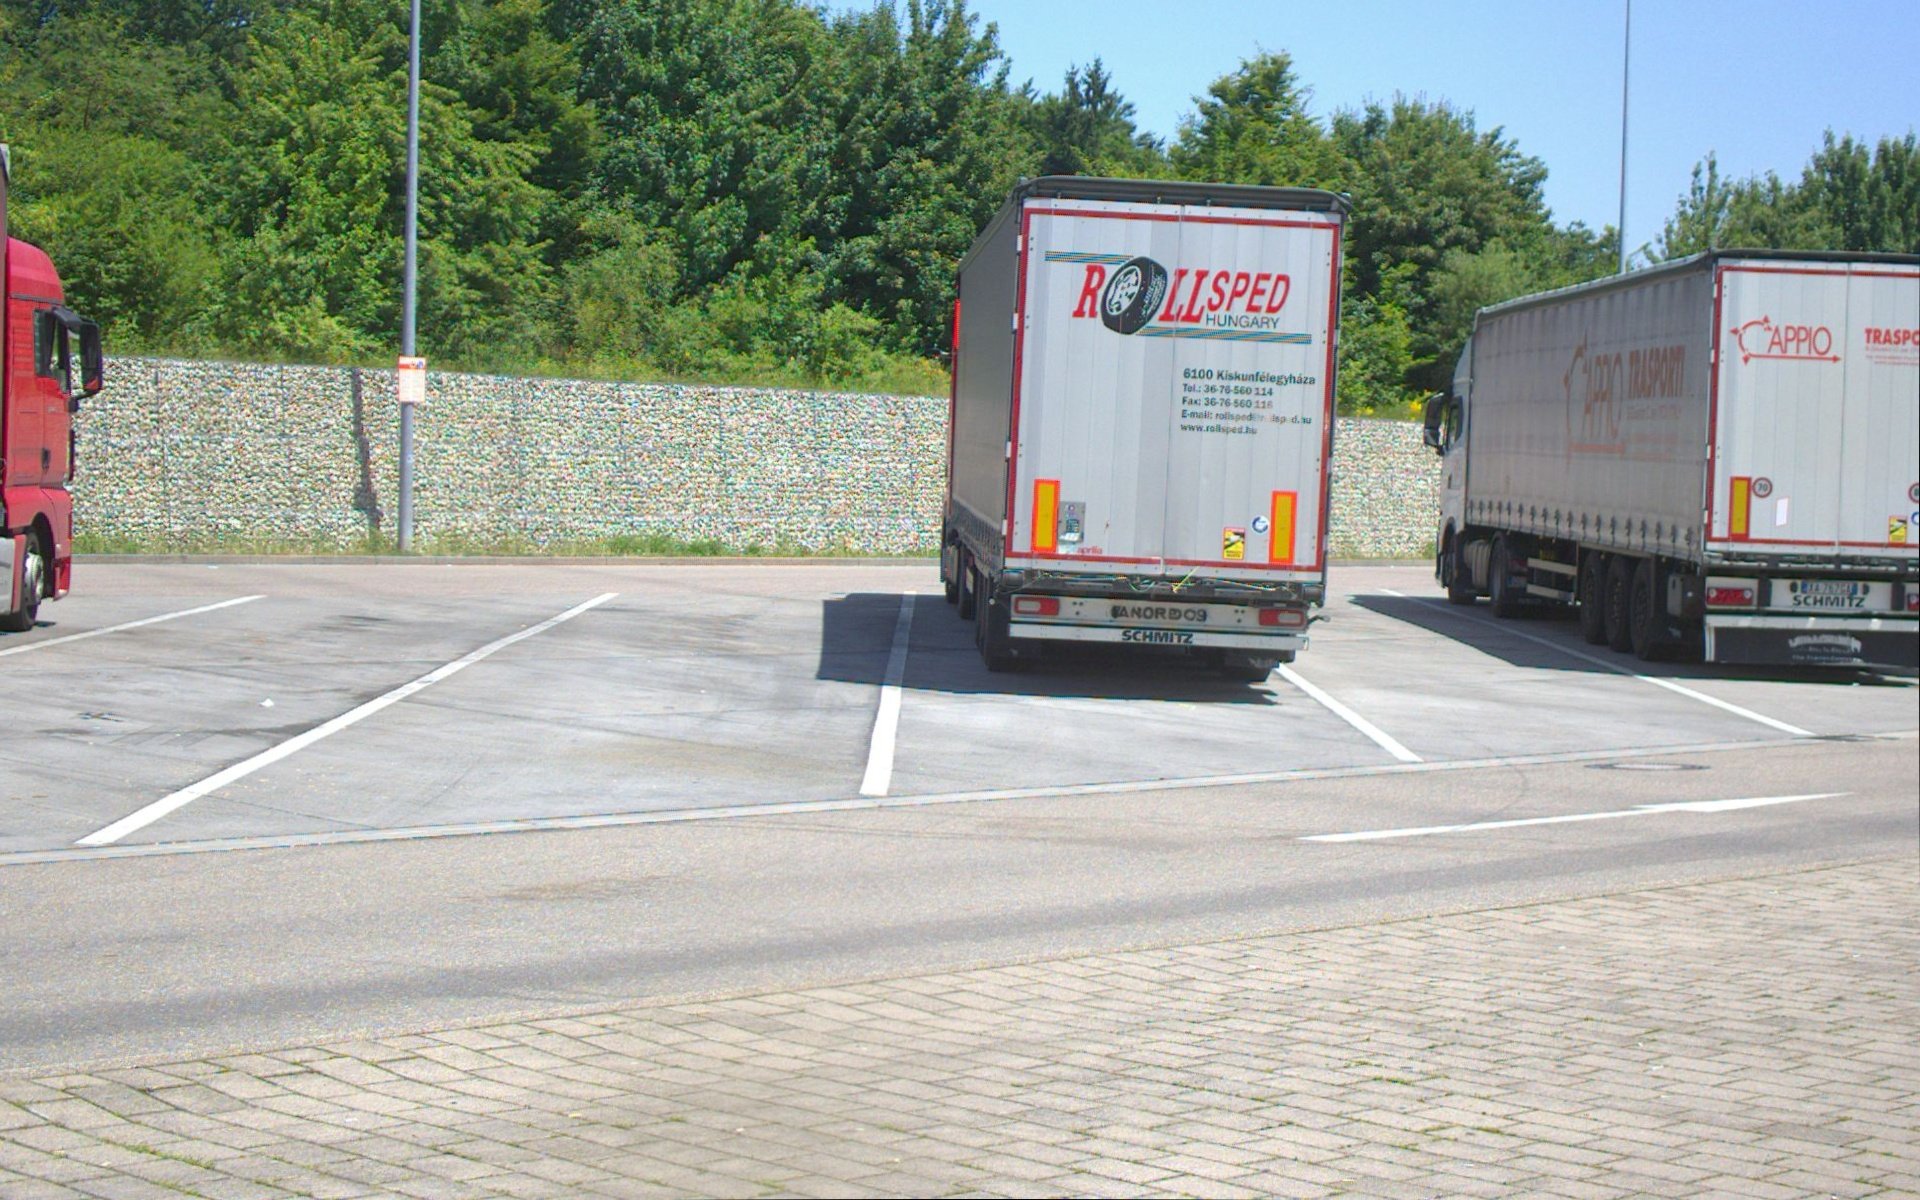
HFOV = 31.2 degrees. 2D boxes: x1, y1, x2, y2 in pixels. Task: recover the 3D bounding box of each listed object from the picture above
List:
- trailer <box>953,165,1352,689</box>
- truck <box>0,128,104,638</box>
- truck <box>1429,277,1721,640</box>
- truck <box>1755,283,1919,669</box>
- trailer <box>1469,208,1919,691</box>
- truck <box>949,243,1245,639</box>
[{"bbox_3d":[1.465,-1.509,32.102,2.897,4.000,11.318,1,2,-1],"label":"trailer"},{"bbox_3d":[-9.173,-1.780,28.358,2.805,4.119,5.894,1,2,-1],"label":"truck"},{"bbox_3d":[7.981,-1.837,45.306,2.661,4.437,5.864,1,2,-1],"label":"truck"},{"bbox_3d":[11.732,-1.349,38.761,2.587,4.211,11.971,1,1,-1],"label":"truck"},{"bbox_3d":[8.115,-1.588,38.211,2.681,4.437,12.831,1,2,-1],"label":"trailer"},{"bbox_3d":[1.377,-1.700,37.775,2.871,3.967,6.030,1,2,-1],"label":"truck"}]
